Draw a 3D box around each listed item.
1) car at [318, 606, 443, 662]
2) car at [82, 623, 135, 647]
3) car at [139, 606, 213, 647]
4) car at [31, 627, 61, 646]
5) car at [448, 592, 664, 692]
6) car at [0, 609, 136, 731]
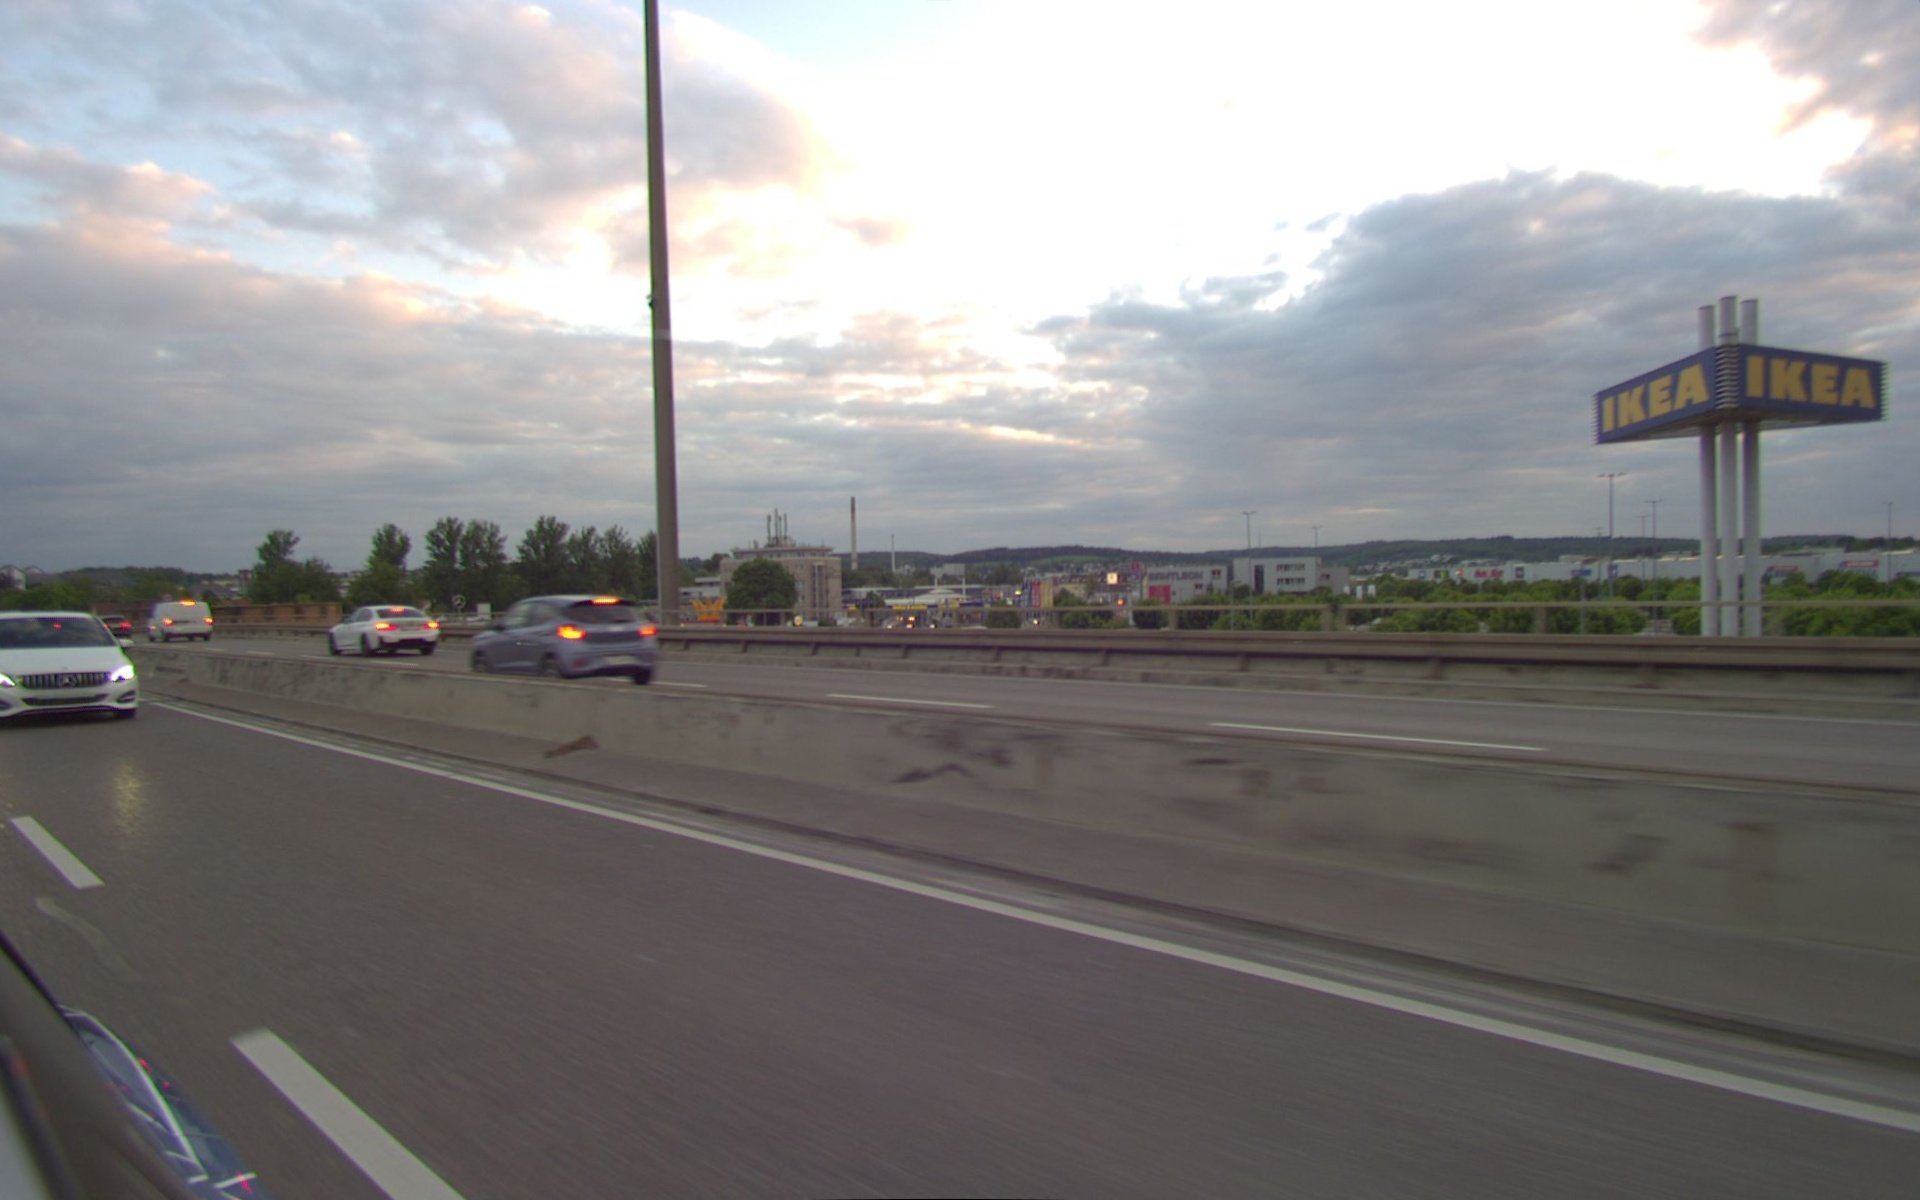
[{"bbox_3d":[-17.151,0.959,29.855,4.815,1.514,1.811,-1,-1,42],"label":"car"},{"bbox_3d":[-54.951,2.265,65.291,4.897,1.485,1.810,-2,-1,40],"label":"car"},{"bbox_3d":[-38.898,1.278,50.139,5.456,1.915,1.881,-1,0,41],"label":"car"},{"bbox_3d":[-82.400,3.234,91.229,4.042,1.606,1.639,-1,0,42],"label":"car"},{"bbox_3d":[-6.693,0.669,16.603,3.831,1.452,1.613,-2,-1,39],"label":"car"},{"bbox_3d":[-13.869,0.985,15.060,4.780,1.548,1.673,-3,-1,41],"label":"car"}]
